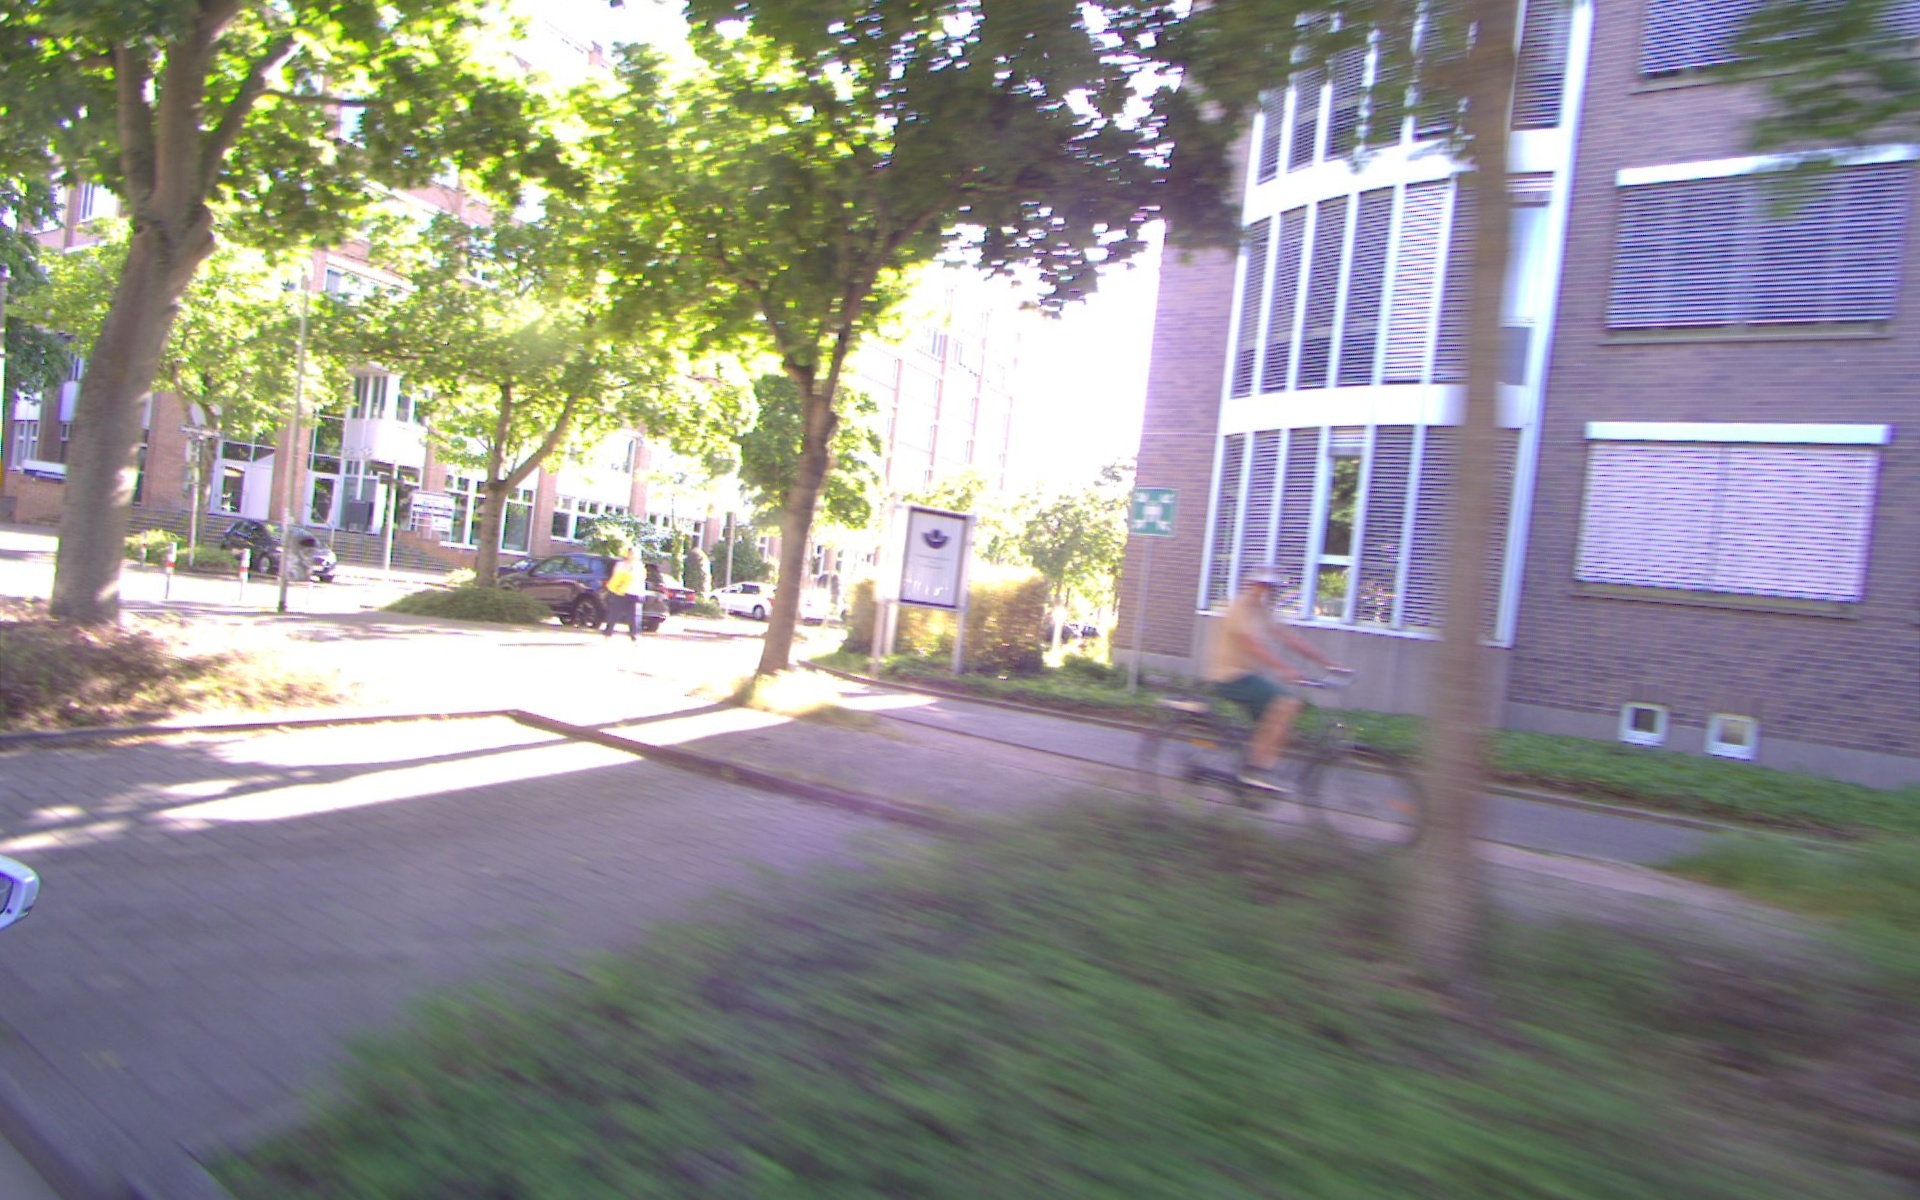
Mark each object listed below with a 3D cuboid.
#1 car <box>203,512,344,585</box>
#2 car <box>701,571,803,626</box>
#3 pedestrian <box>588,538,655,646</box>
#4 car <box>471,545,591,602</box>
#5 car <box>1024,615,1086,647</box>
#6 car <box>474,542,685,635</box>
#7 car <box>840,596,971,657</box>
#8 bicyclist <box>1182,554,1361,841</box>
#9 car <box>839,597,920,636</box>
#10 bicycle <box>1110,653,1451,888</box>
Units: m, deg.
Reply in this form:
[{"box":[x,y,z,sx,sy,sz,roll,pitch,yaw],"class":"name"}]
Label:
[{"box":[-18.841,-1.416,27.589,3.851,1.480,1.654,8,0,31],"class":"car"},{"box":[-9.088,-0.071,43.889,4.045,1.745,1.920,9,1,33],"class":"car"},{"box":[-5.290,-0.115,15.733,0.636,1.602,0.539,7,1,22],"class":"pedestrian"},{"box":[-14.831,-0.942,34.709,4.204,1.479,1.690,7,0,34],"class":"car"},{"box":[6.537,2.140,69.544,3.843,1.521,1.533,9,1,31],"class":"car"},{"box":[-8.165,-0.266,21.529,4.292,1.584,1.741,4,-2,29],"class":"car"},{"box":[-1.784,0.834,32.186,3.941,1.603,1.699,3,-3,37],"class":"car"},{"box":[1.986,0.588,6.419,0.809,1.657,0.537,7,1,32],"class":"bicyclist"},{"box":[-4.150,0.844,51.817,3.844,1.521,1.533,7,0,31],"class":"car"},{"box":[1.989,1.003,6.396,1.888,1.092,0.534,7,1,32],"class":"bicycle"}]
